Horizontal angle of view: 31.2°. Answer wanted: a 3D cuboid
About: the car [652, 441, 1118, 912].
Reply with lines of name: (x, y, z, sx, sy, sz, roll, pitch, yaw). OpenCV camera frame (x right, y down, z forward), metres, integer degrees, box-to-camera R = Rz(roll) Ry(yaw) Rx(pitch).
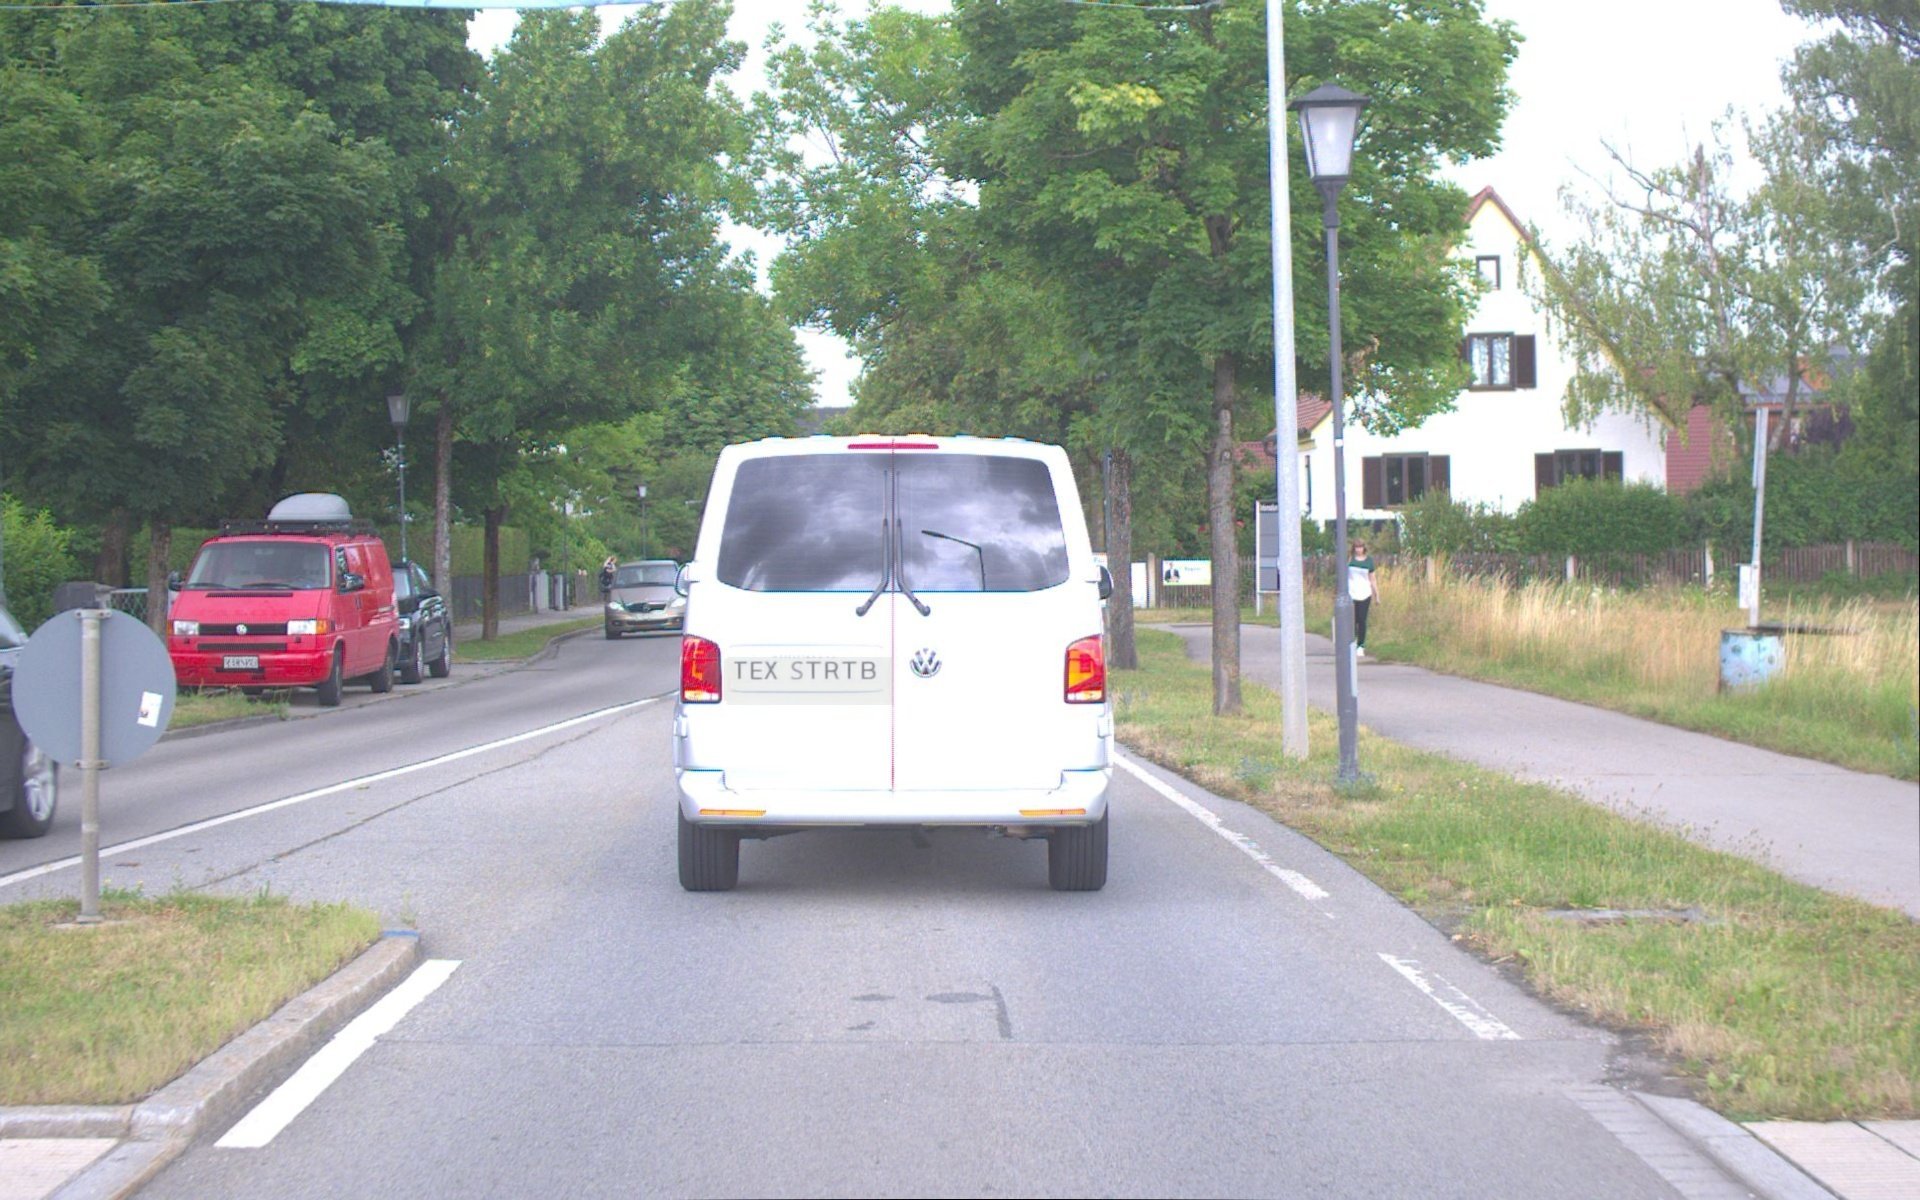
car: (-0.357, 0.289, 15.950, 1.887, 1.905, 4.000, 0, 1, -2)

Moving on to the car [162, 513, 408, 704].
car: (-7.616, 0.037, 39.246, 1.830, 2.023, 5.046, 1, 1, 0)

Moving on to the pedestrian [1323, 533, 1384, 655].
pedestrian: (5.668, -0.089, 49.543, 0.837, 1.749, 0.869, 0, 1, 4)

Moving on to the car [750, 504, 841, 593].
car: (-3.828, -1.204, 80.512, 1.993, 2.007, 4.000, 1, 1, -1)

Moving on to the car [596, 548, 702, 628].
car: (-6.441, -0.271, 71.549, 1.707, 1.527, 3.507, -3, 1, 2)

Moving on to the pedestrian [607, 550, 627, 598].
pedestrian: (-11.139, -0.856, 111.505, 0.622, 1.544, 0.522, 1, 0, -5)

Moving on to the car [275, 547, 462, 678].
car: (-7.707, 0.124, 45.146, 1.771, 1.592, 4.238, 0, 1, -1)

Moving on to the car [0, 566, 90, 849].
car: (-5.988, 0.601, 17.245, 1.920, 1.448, 4.496, -1, 1, 2)
